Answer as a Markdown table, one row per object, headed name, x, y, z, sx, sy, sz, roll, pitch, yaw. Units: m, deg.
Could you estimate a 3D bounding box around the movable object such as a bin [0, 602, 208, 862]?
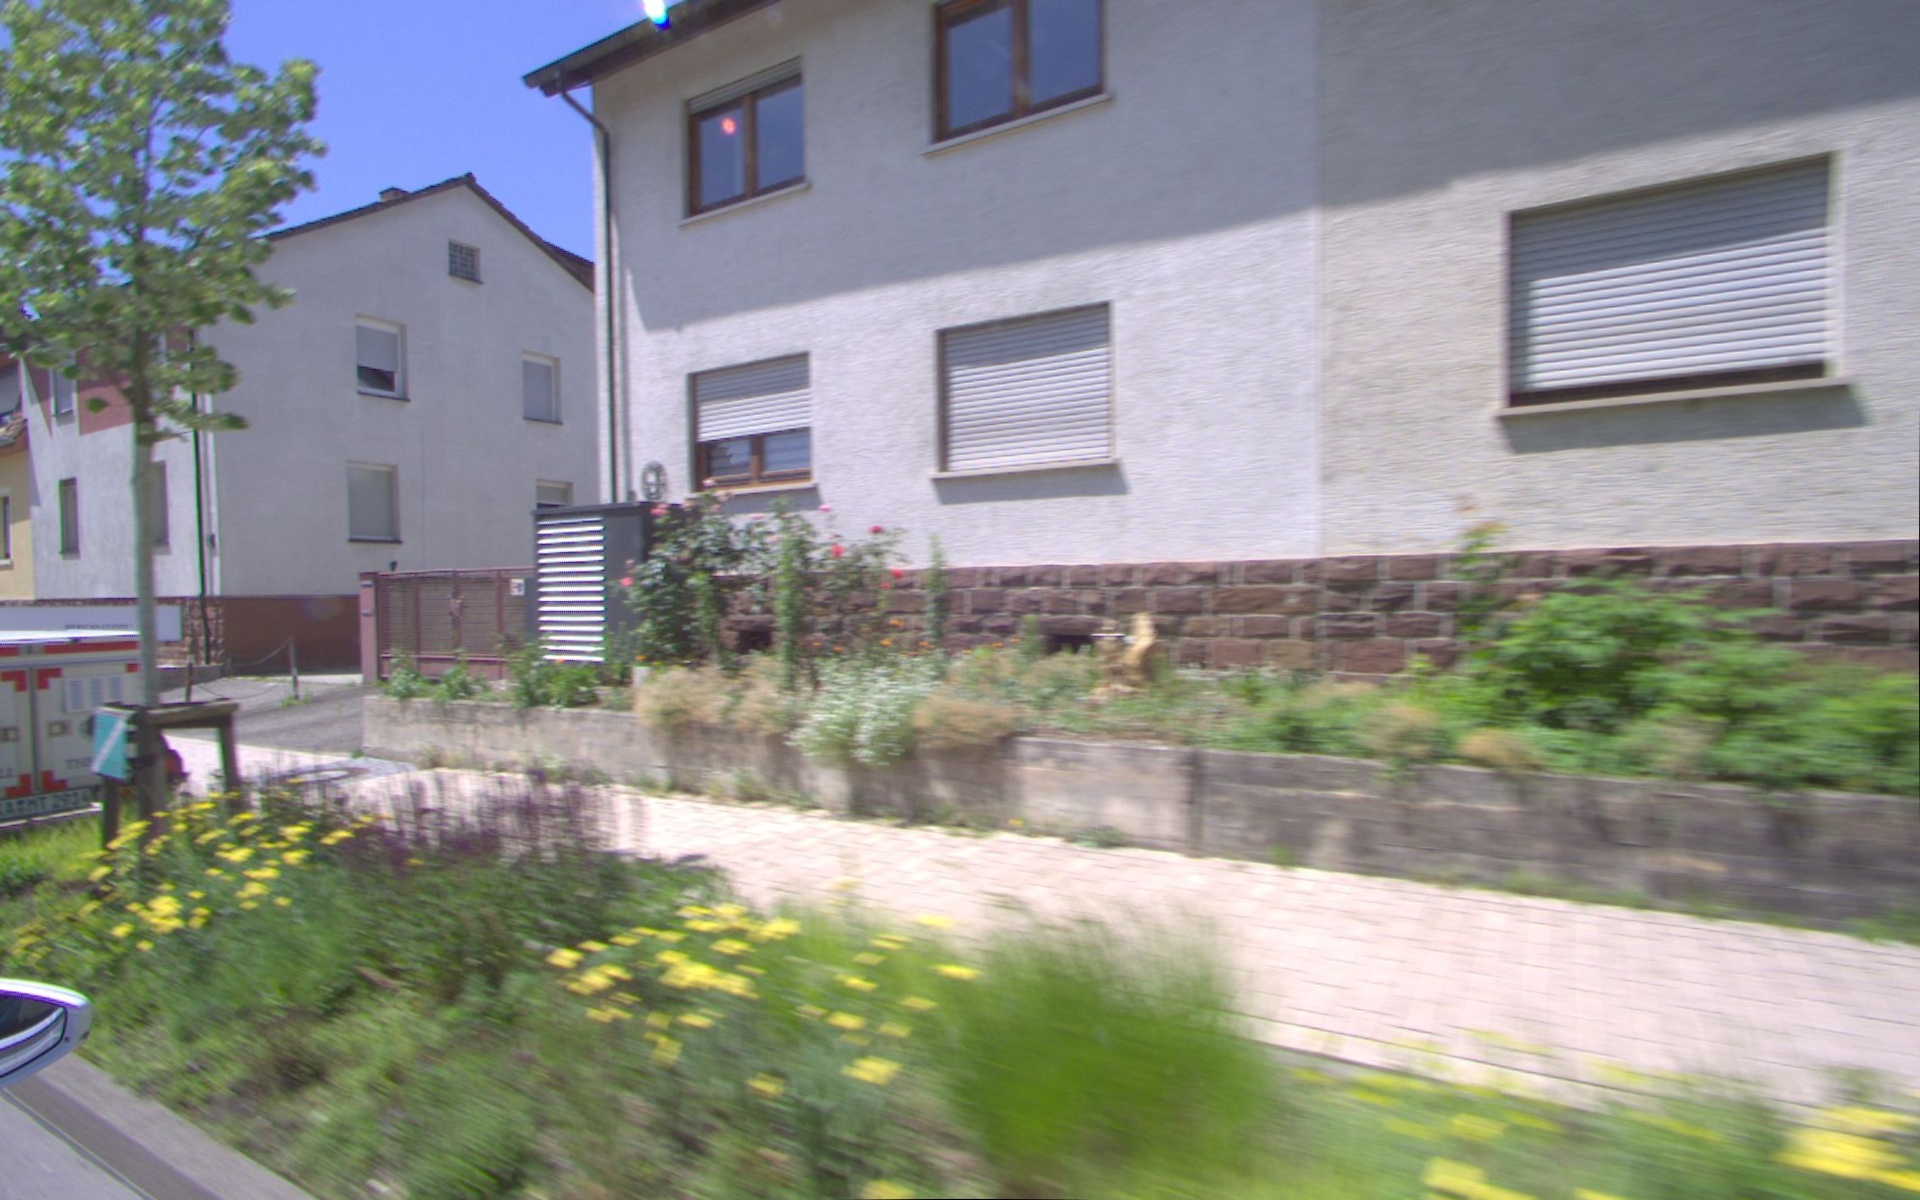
| name | x | y | z | sx | sy | sz | roll | pitch | yaw |
| --- | --- | --- | --- | --- | --- | --- | --- | --- | --- |
| movable object such as a bin | -6.519 | 0.783 | 6.518 | 2.998 | 1.435 | 1.568 | -2 | 0 | 31 |
